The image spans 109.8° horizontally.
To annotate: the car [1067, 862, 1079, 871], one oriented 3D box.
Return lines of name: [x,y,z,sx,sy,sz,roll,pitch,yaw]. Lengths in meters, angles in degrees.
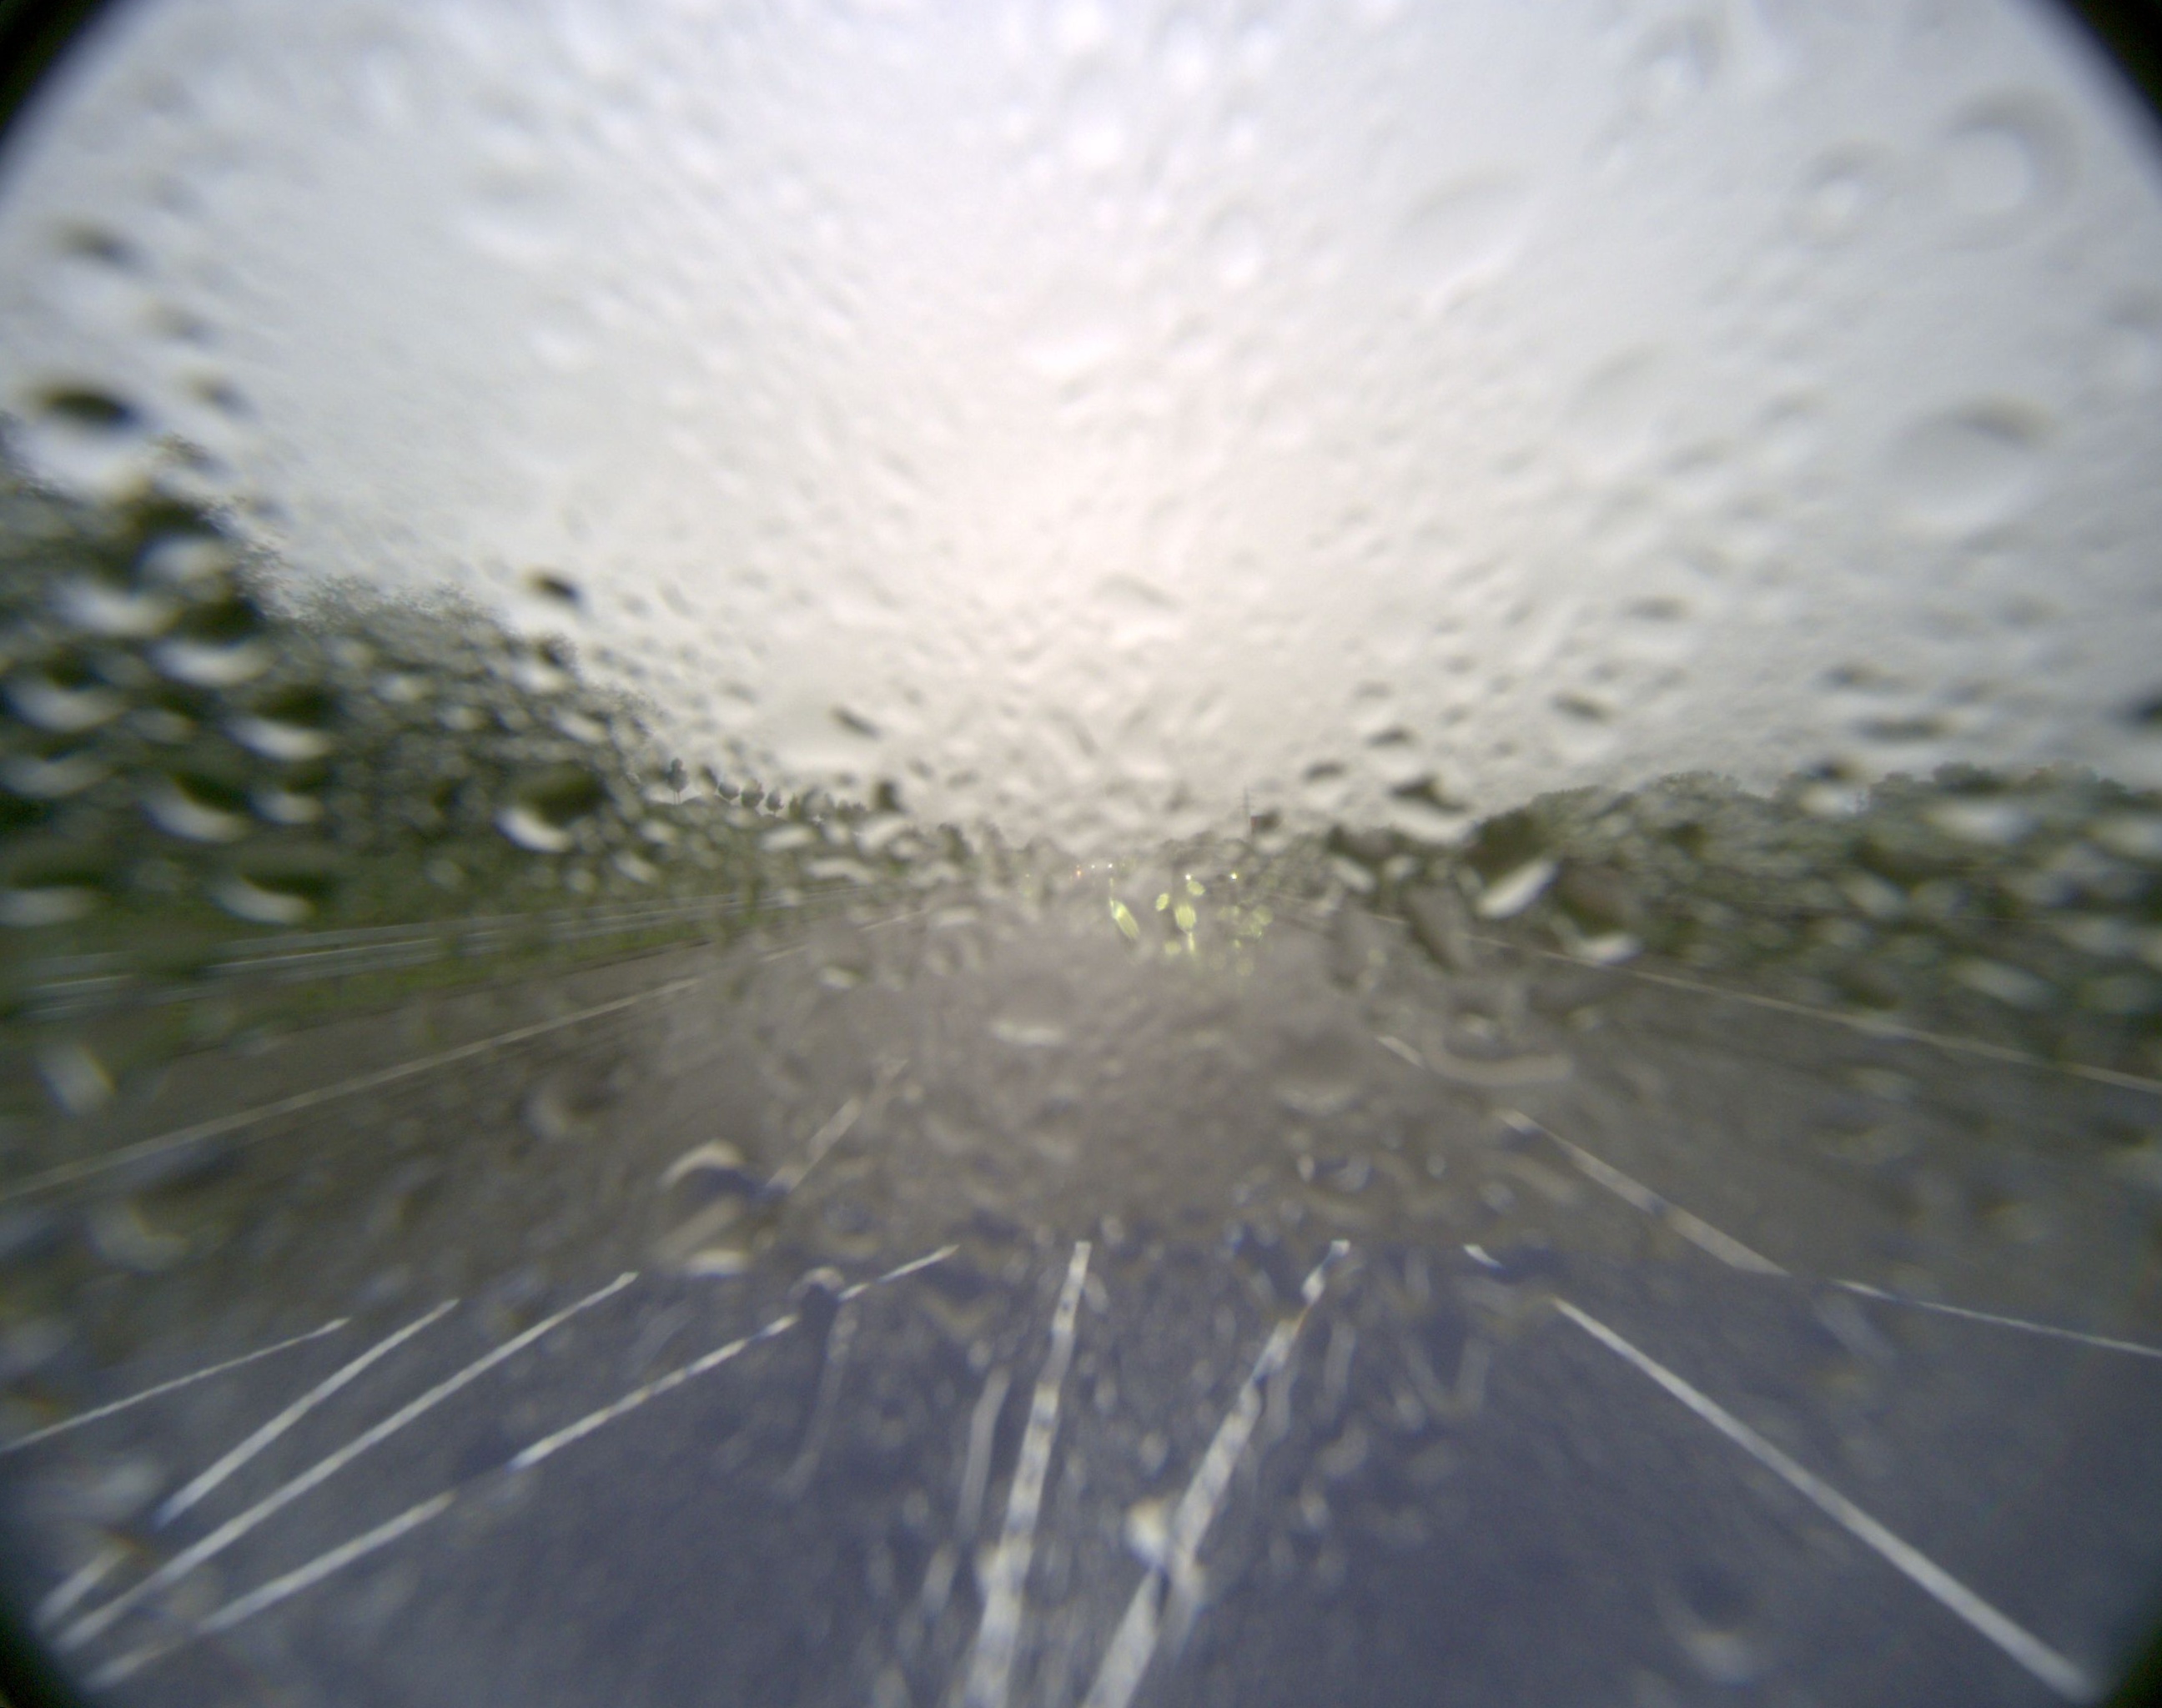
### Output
car: [-1.220,1.899,119.748,1.753,1.205,4.000,-4,0,1]

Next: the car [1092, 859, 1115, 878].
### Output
car: [1.862,1.153,62.526,1.753,1.406,4.000,-4,0,1]

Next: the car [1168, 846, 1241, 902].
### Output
car: [4.231,0.654,26.683,2.046,1.763,4.501,-2,0,3]

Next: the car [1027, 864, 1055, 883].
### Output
car: [-3.101,1.492,59.449,1.753,1.205,4.000,-4,0,1]

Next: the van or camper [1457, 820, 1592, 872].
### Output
van or camper: [22.563,-0.366,39.195,2.611,2.262,7.337,-4,0,1]

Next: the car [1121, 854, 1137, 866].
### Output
car: [6.070,0.795,95.598,1.753,1.369,4.000,-4,0,1]
